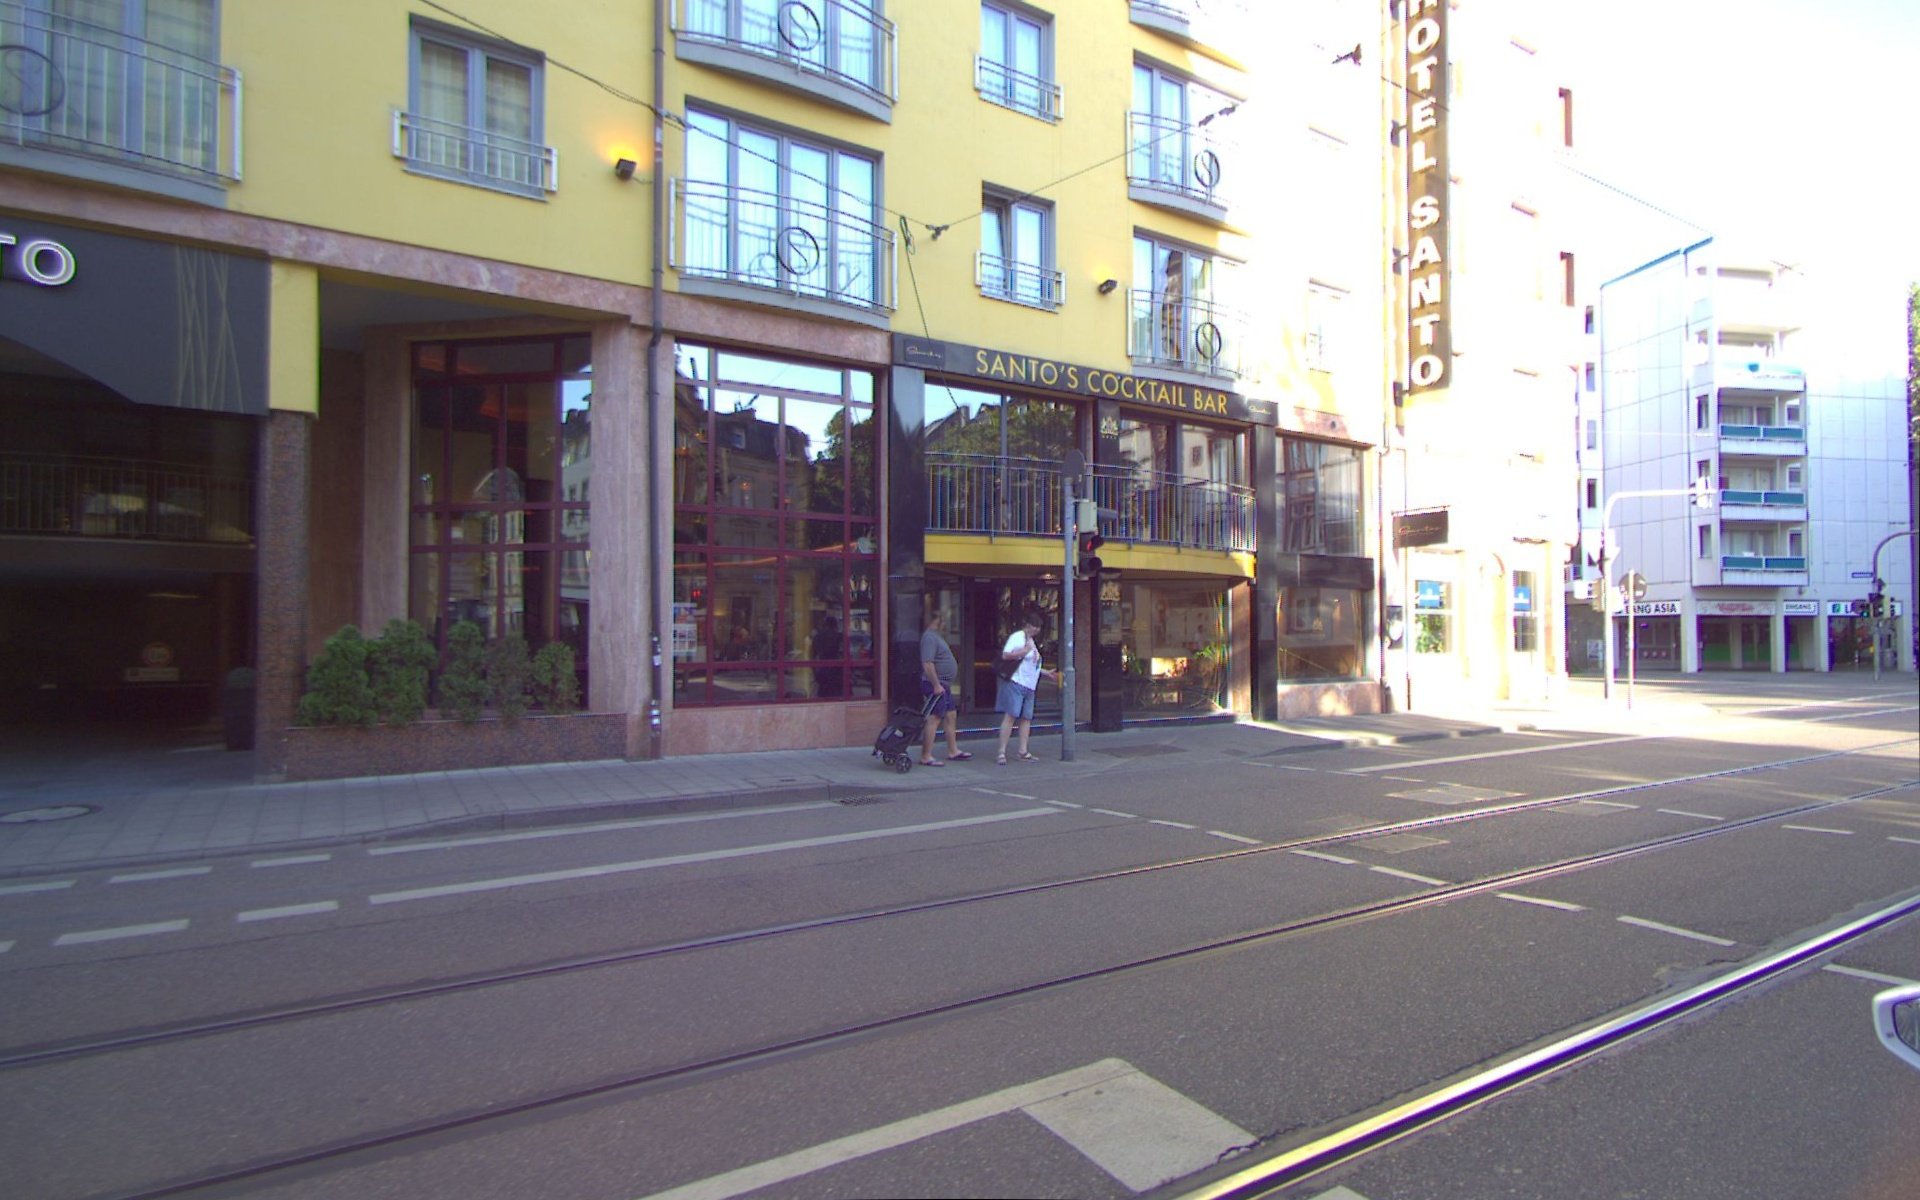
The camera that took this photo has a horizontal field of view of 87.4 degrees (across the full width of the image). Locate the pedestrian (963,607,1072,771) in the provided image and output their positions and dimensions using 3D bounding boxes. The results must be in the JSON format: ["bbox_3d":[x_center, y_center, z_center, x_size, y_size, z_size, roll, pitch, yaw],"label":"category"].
[{"bbox_3d":[0.691,1.037,12.222,1.031,1.843,0.749,4,3,43],"label":"pedestrian"}]

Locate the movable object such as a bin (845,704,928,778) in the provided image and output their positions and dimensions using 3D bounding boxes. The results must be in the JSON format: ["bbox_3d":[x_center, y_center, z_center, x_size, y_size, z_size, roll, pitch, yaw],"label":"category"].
[{"bbox_3d":[-0.825,1.568,11.258,0.831,0.726,0.381,1,2,-31],"label":"movable object such as a bin"}]

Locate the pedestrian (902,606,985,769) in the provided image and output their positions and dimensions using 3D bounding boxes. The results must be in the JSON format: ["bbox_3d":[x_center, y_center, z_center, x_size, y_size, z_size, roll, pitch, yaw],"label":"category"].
[{"bbox_3d":[-0.207,0.997,11.781,0.737,1.795,0.797,1,2,-18],"label":"pedestrian"}]
